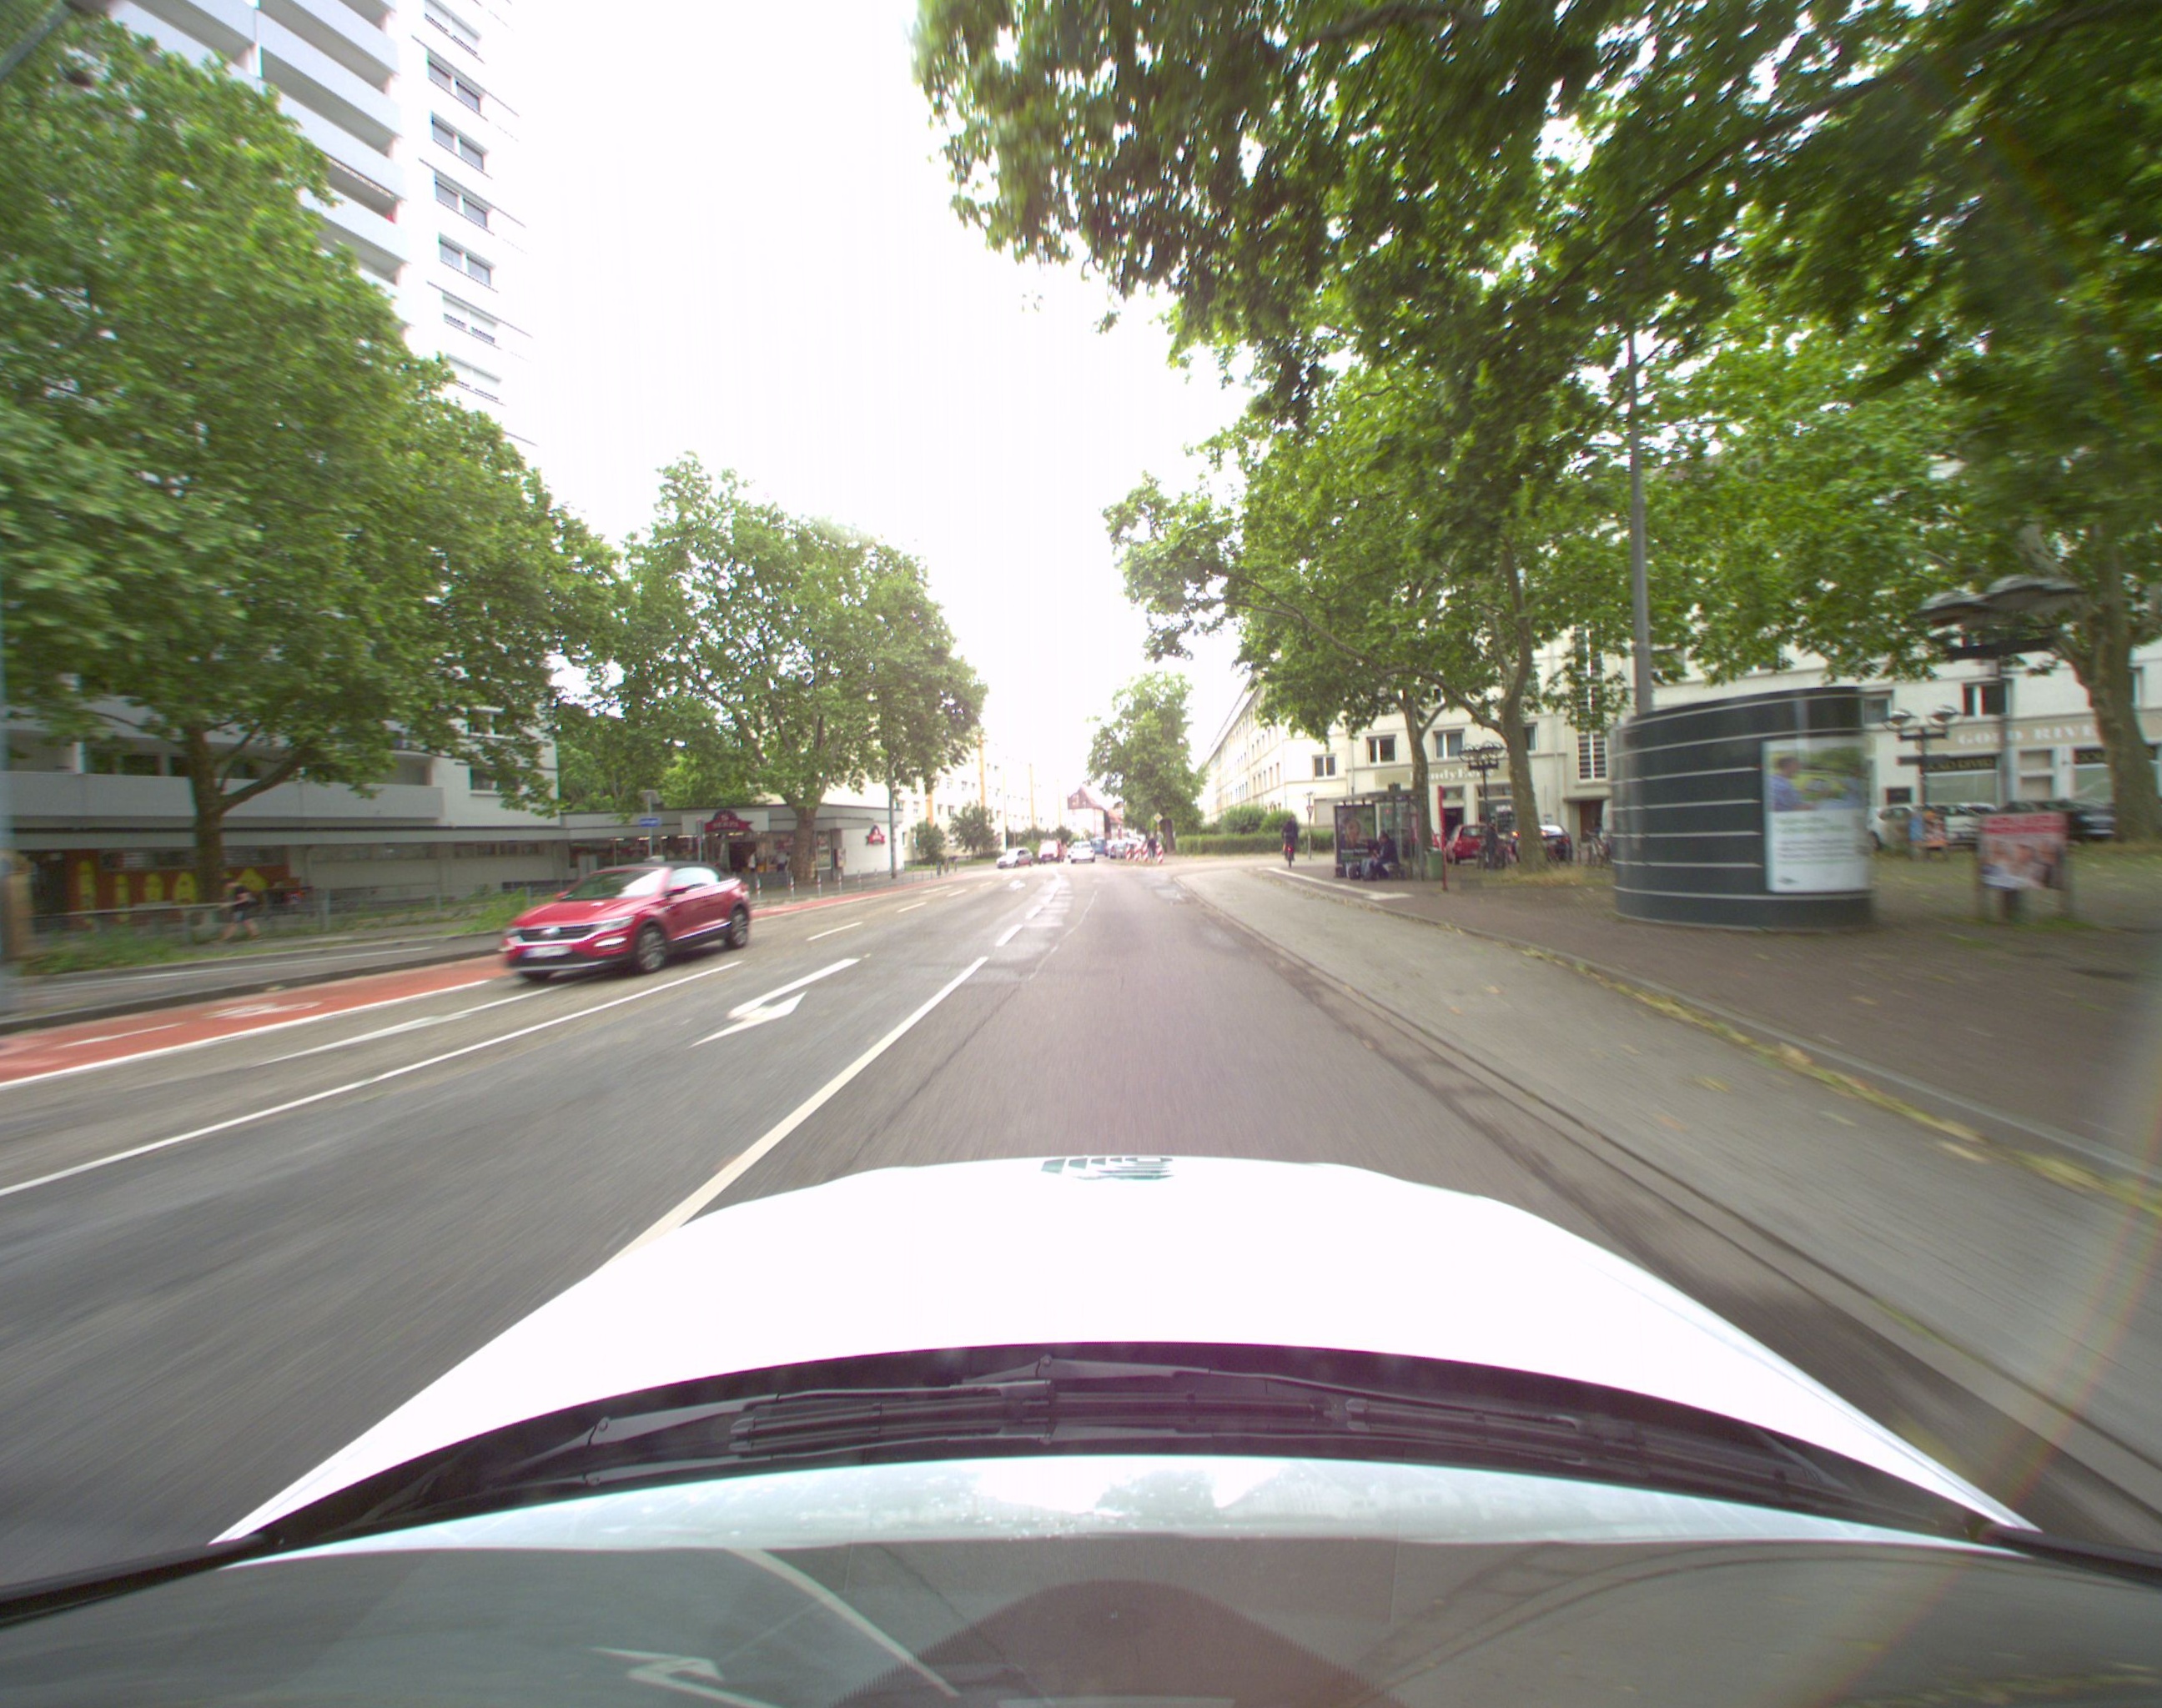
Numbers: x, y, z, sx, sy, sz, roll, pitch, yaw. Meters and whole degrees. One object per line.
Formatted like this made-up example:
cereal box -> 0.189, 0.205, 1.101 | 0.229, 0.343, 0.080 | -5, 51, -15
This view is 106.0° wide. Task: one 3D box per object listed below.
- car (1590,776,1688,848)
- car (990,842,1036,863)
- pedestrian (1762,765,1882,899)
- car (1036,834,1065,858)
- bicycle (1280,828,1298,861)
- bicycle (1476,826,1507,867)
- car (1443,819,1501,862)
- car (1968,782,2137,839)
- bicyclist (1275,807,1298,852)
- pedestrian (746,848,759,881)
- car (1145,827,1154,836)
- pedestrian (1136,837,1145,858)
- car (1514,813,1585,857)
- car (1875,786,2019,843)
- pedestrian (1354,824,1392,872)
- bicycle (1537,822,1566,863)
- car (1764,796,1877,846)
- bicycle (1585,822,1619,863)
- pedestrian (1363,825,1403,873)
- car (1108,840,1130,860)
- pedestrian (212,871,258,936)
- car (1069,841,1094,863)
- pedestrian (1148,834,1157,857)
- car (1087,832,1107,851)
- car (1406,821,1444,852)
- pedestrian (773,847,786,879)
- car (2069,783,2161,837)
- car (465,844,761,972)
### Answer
car -> 19.023, -1.409, 27.951 | 2.154, 2.200, 4.024 | -2, 1, 26
car -> -5.325, -0.156, 64.237 | 1.751, 1.486, 4.024 | -2, 1, 25
pedestrian -> 10.272, -0.304, 11.327 | 0.781, 1.743, 0.925 | -3, 1, 0
car -> -2.643, -0.741, 70.951 | 1.757, 1.911, 4.010 | -3, 1, 8
bicycle -> 8.345, -0.385, 32.619 | 0.413, 1.242, 1.937 | -2, 1, 21
bicycle -> 12.815, -0.248, 25.416 | 0.771, 1.168, 2.347 | -2, 1, 27
car -> 14.556, -0.534, 30.449 | 1.502, 1.428, 4.021 | -2, 1, 20
car -> 27.976, -1.227, 23.625 | 1.779, 1.440, 3.851 | -2, 1, 27
bicyclist -> 8.244, -0.985, 32.671 | 0.753, 1.758, 0.825 | -2, 1, 21
pedestrian -> -17.215, 0.543, 42.669 | 0.510, 1.680, 0.514 | -3, 1, -14
car -> 16.867, -5.486, 200.693 | 1.987, 2.013, 4.000 | -2, 1, 0
pedestrian -> 4.418, -0.489, 60.532 | 0.513, 1.495, 0.511 | -3, 1, 0
car -> 16.814, -0.700, 29.399 | 1.502, 1.428, 4.021 | -2, 1, 20
car -> 26.040, -1.171, 24.651 | 1.779, 1.516, 3.851 | -2, 1, 27
pedestrian -> 8.649, -0.175, 24.164 | 0.814, 1.372, 0.763 | -3, 1, 2
bicycle -> 14.386, -0.373, 24.946 | 0.616, 1.168, 2.347 | -2, 1, 27
car -> 24.066, -1.066, 26.663 | 1.779, 1.440, 3.851 | -2, 1, 27
bicycle -> 15.816, -0.374, 24.777 | 0.616, 1.168, 2.347 | -2, 1, 27
pedestrian -> 8.626, -0.139, 23.298 | 0.850, 1.314, 0.763 | -3, 1, 2
car -> 3.286, -0.398, 71.379 | 1.808, 1.591, 4.002 | -3, 1, 2
pedestrian -> -21.019, 1.220, 20.233 | 0.417, 1.545, 0.626 | -2, 1, 25
car -> 0.065, -0.165, 64.763 | 1.808, 1.591, 4.002 | -3, 1, 2
pedestrian -> 5.337, -0.620, 60.589 | 0.548, 1.684, 0.570 | -3, 1, 0
car -> 1.685, -1.317, 86.951 | 1.987, 1.848, 4.001 | -3, 1, 1
car -> 17.267, -0.899, 41.018 | 1.502, 1.428, 4.021 | -2, 1, 20
pedestrian -> -15.974, 0.487, 43.140 | 0.516, 1.680, 0.508 | -3, 1, -16
car -> 30.791, -1.291, 23.318 | 1.779, 1.440, 3.851 | -2, 1, 27
car -> -6.668, 0.656, 12.257 | 1.846, 1.452, 4.170 | -2, 2, 2
